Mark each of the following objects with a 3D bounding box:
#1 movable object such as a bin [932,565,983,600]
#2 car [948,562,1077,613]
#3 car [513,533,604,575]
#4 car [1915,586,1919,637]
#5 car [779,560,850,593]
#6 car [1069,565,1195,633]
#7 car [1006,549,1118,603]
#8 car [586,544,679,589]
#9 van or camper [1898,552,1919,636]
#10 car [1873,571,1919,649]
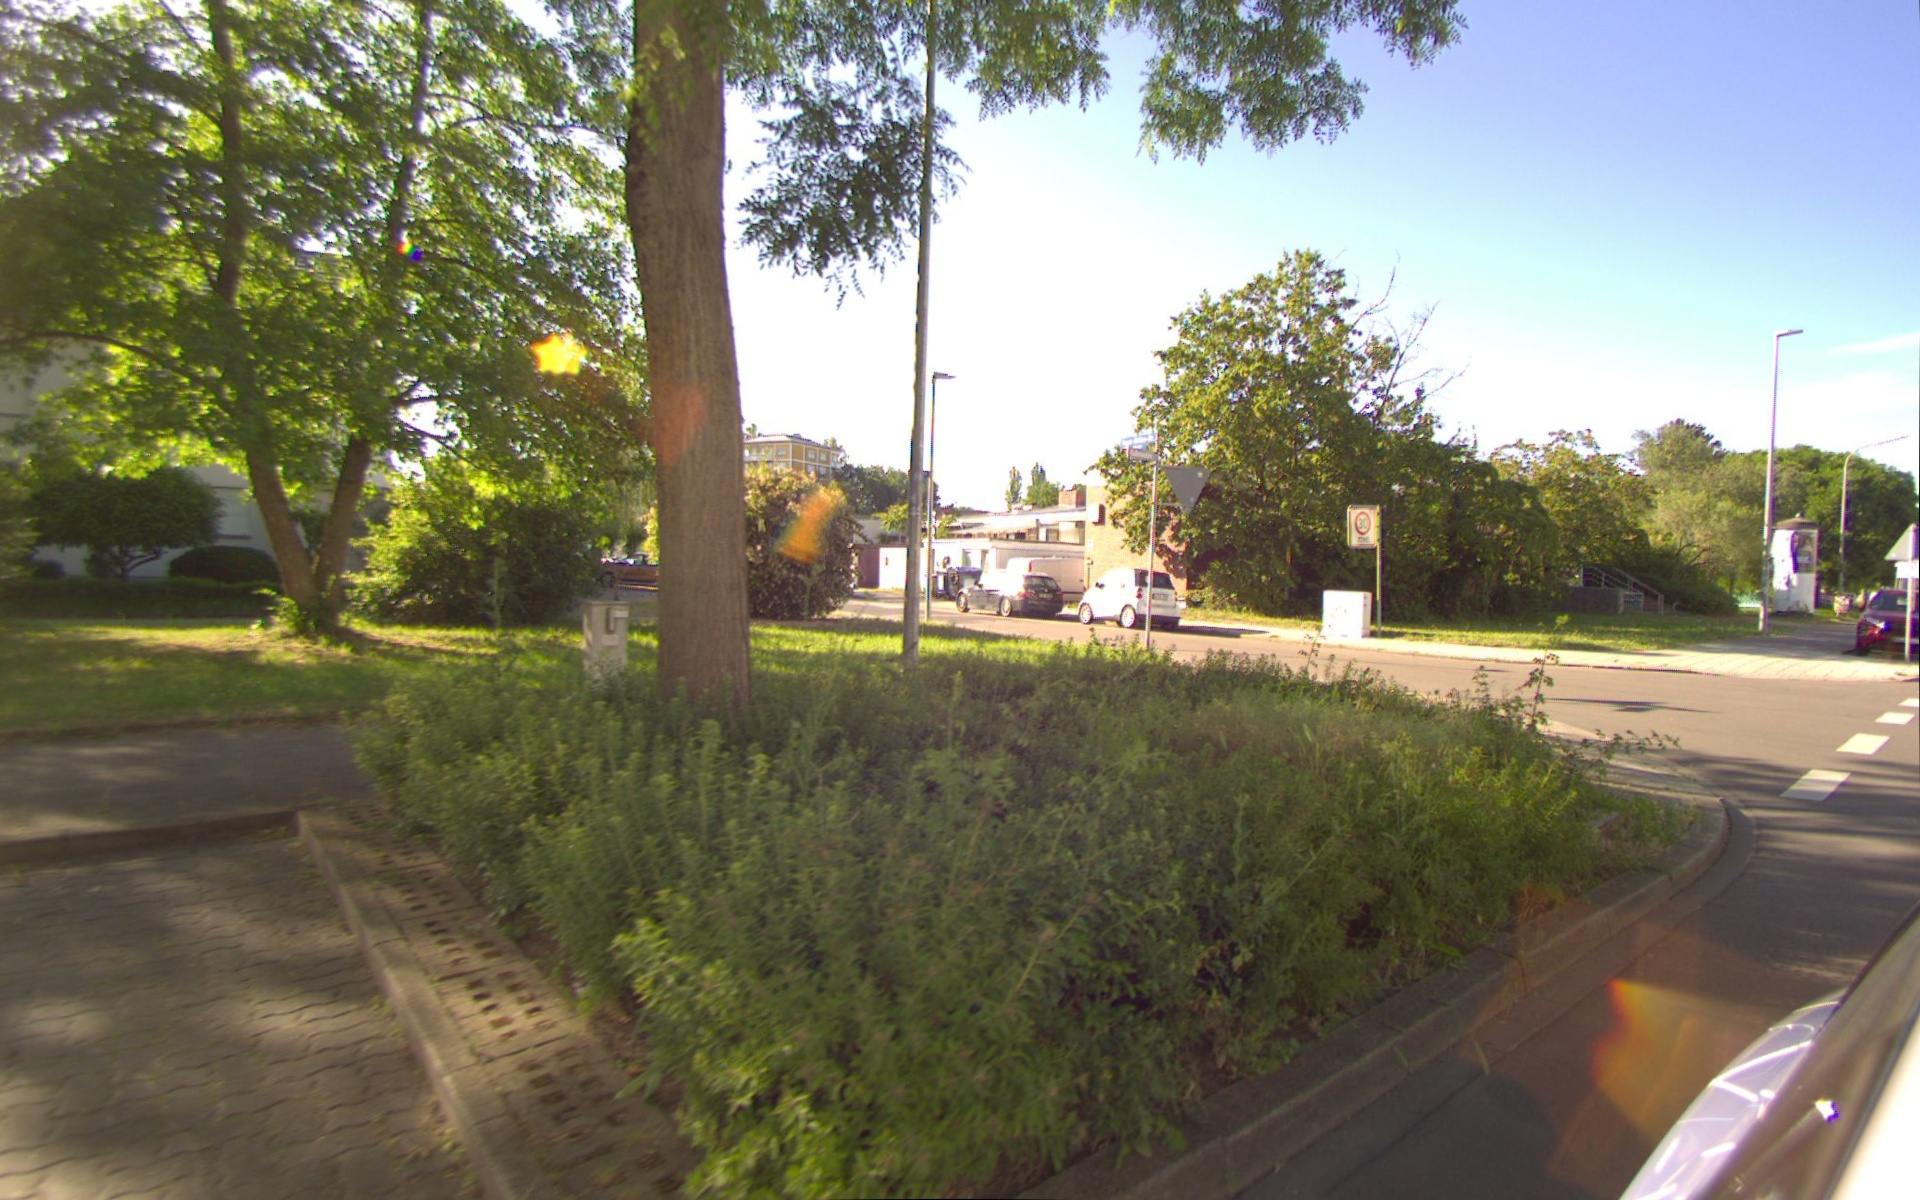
[{"bbox_3d":[-0.146,-0.755,43.011,1.215,1.390,2.575,1,2,-23],"label":"movable object such as a bin"},{"bbox_3d":[1.575,-0.430,32.038,1.929,1.428,4.505,1,2,-30],"label":"car"},{"bbox_3d":[-25.526,-2.899,64.418,4.981,2.429,1.999,1,2,-38],"label":"car"},{"bbox_3d":[29.973,0.387,30.372,3.934,1.492,1.693,0,3,-44],"label":"car"},{"bbox_3d":[-6.861,-1.125,47.384,1.818,1.428,4.252,1,2,-30],"label":"car"},{"bbox_3d":[4.503,-0.055,26.793,1.667,1.583,2.968,5,0,-30],"label":"car"},{"bbox_3d":[3.887,-0.894,38.412,3.919,1.892,1.702,1,2,-29],"label":"car"},{"bbox_3d":[-13.652,-1.388,42.128,3.517,1.507,1.677,5,0,-20],"label":"car"},{"bbox_3d":[35.956,-0.144,36.721,2.498,2.880,6.741,4,3,44],"label":"van or camper"},{"bbox_3d":[23.280,0.263,24.272,1.776,1.700,4.571,7,5,44],"label":"car"}]
